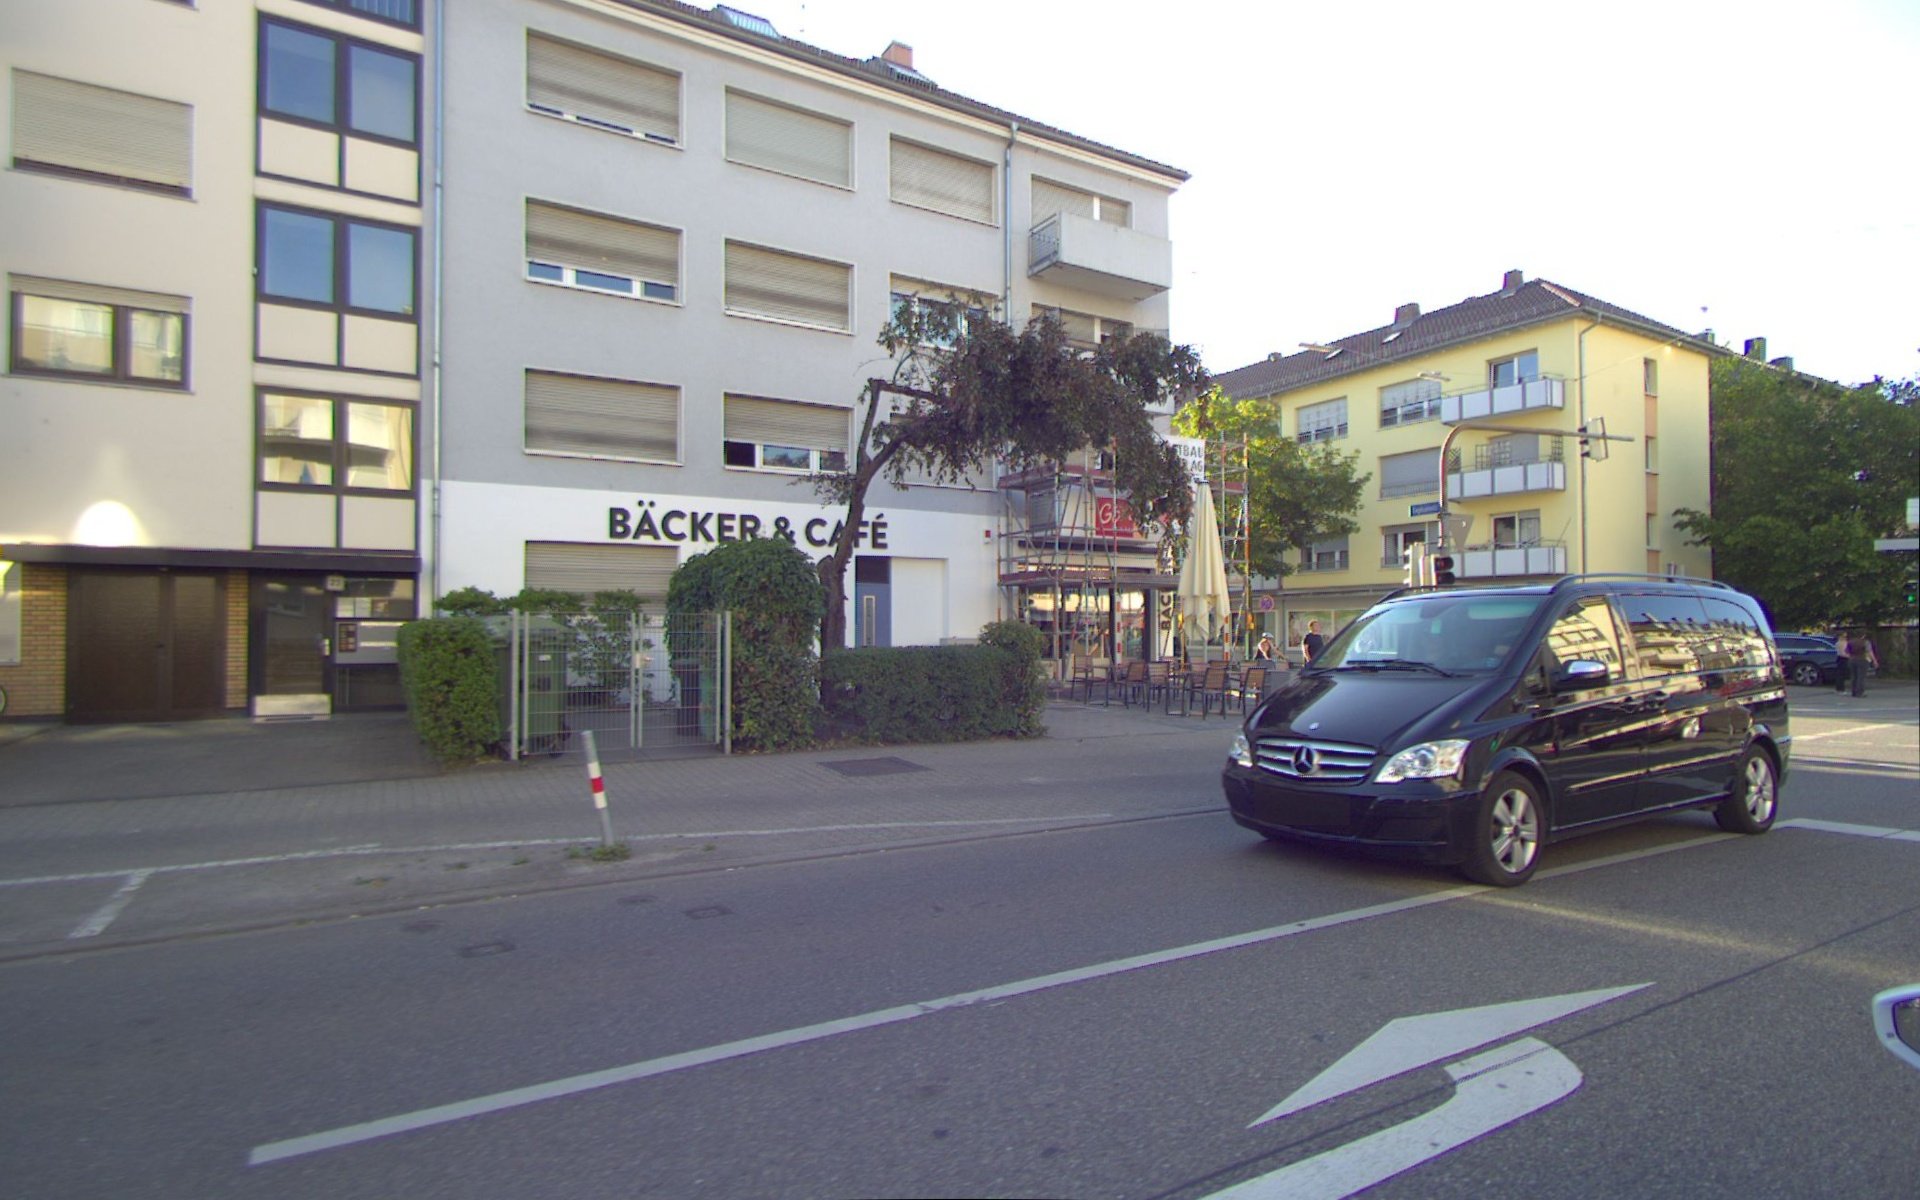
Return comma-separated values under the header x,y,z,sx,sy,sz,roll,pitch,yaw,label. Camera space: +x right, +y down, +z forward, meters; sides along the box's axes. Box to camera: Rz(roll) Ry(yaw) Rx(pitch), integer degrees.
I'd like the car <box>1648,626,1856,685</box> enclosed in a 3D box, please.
x,y,z,sx,sy,sz,roll,pitch,yaw,label
23.731,1.613,30.293,1.840,1.555,4.611,1,-1,-30,car

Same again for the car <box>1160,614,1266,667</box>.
x,y,z,sx,sy,sz,roll,pitch,yaw,label
10.146,1.603,40.575,1.977,2.040,3.968,1,-2,-30,car

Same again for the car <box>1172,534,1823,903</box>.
x,y,z,sx,sy,sz,roll,pitch,yaw,label
4.091,0.723,7.415,4.907,1.933,1.984,1,-4,-31,car

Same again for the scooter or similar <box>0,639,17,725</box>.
x,y,z,sx,sy,sz,roll,pitch,yaw,label
-13.237,1.052,12.772,1.748,1.110,0.382,1,-2,-32,scooter or similar

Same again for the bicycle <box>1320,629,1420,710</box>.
x,y,z,sx,sy,sz,roll,pitch,yaw,label
9.118,1.511,22.404,0.749,1.729,2.011,1,-2,-32,bicycle

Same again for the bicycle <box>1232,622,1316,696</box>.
x,y,z,sx,sy,sz,roll,pitch,yaw,label
7.607,1.412,24.418,0.749,1.729,1.909,1,-2,-32,bicycle

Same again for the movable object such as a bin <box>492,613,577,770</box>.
x,y,z,sx,sy,sz,roll,pitch,yaw,label
-4.346,0.902,10.250,0.732,1.532,0.590,1,-2,-29,movable object such as a bin

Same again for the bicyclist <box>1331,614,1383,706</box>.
x,y,z,sx,sy,sz,roll,pitch,yaw,label
8.956,1.339,22.665,0.835,2.040,0.721,1,-2,-33,bicyclist

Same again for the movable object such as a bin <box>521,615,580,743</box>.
x,y,z,sx,sy,sz,roll,pitch,yaw,label
-4.748,0.903,11.649,0.569,1.446,0.390,1,-2,-32,movable object such as a bin

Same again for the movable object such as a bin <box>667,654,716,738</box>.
x,y,z,sx,sy,sz,roll,pitch,yaw,label
-3.299,1.168,12.331,0.434,0.981,0.601,1,-2,-30,movable object such as a bin

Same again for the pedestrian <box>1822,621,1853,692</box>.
x,y,z,sx,sy,sz,roll,pitch,yaw,label
22.990,1.470,26.311,0.498,1.820,0.447,1,-2,-30,pedestrian

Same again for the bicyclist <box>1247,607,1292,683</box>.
x,y,z,sx,sy,sz,roll,pitch,yaw,label
7.553,1.084,24.501,0.702,1.823,0.782,1,-2,-32,bicyclist

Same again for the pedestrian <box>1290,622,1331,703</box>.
x,y,z,sx,sy,sz,roll,pitch,yaw,label
7.468,1.322,21.425,0.638,1.697,0.573,1,-2,-40,pedestrian

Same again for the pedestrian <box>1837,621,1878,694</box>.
x,y,z,sx,sy,sz,roll,pitch,yaw,label
22.792,1.443,25.515,0.498,1.820,0.613,1,-2,-30,pedestrian
